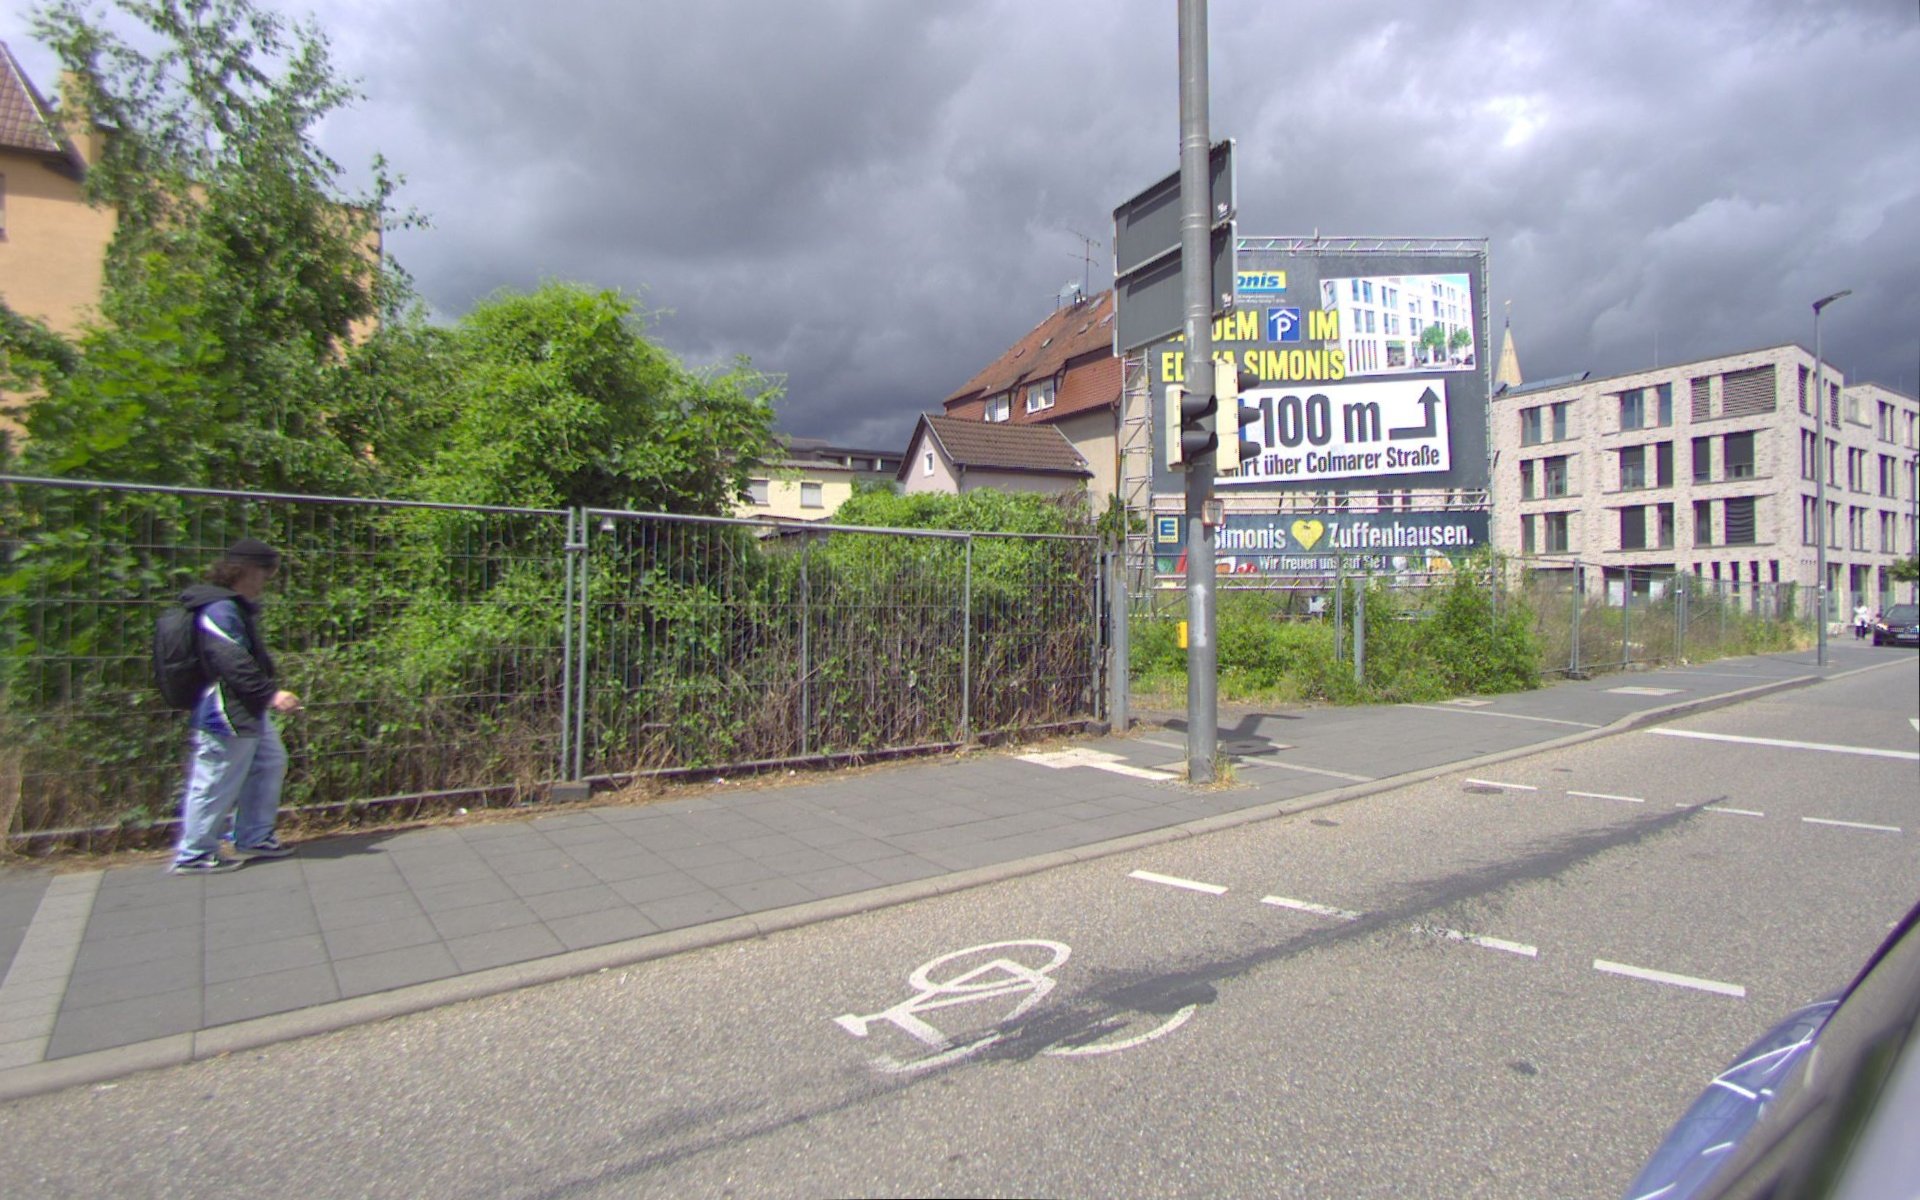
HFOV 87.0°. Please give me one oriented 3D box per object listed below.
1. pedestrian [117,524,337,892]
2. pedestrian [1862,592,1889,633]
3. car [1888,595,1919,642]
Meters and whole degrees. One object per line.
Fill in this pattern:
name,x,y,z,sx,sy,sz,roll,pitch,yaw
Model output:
pedestrian,-3.629,0.486,5.091,0.762,1.663,0.768,2,0,-29
pedestrian,34.871,0.463,38.548,0.769,1.531,0.673,1,0,-41
car,32.723,0.603,34.019,3.726,1.441,1.678,-1,2,-39
